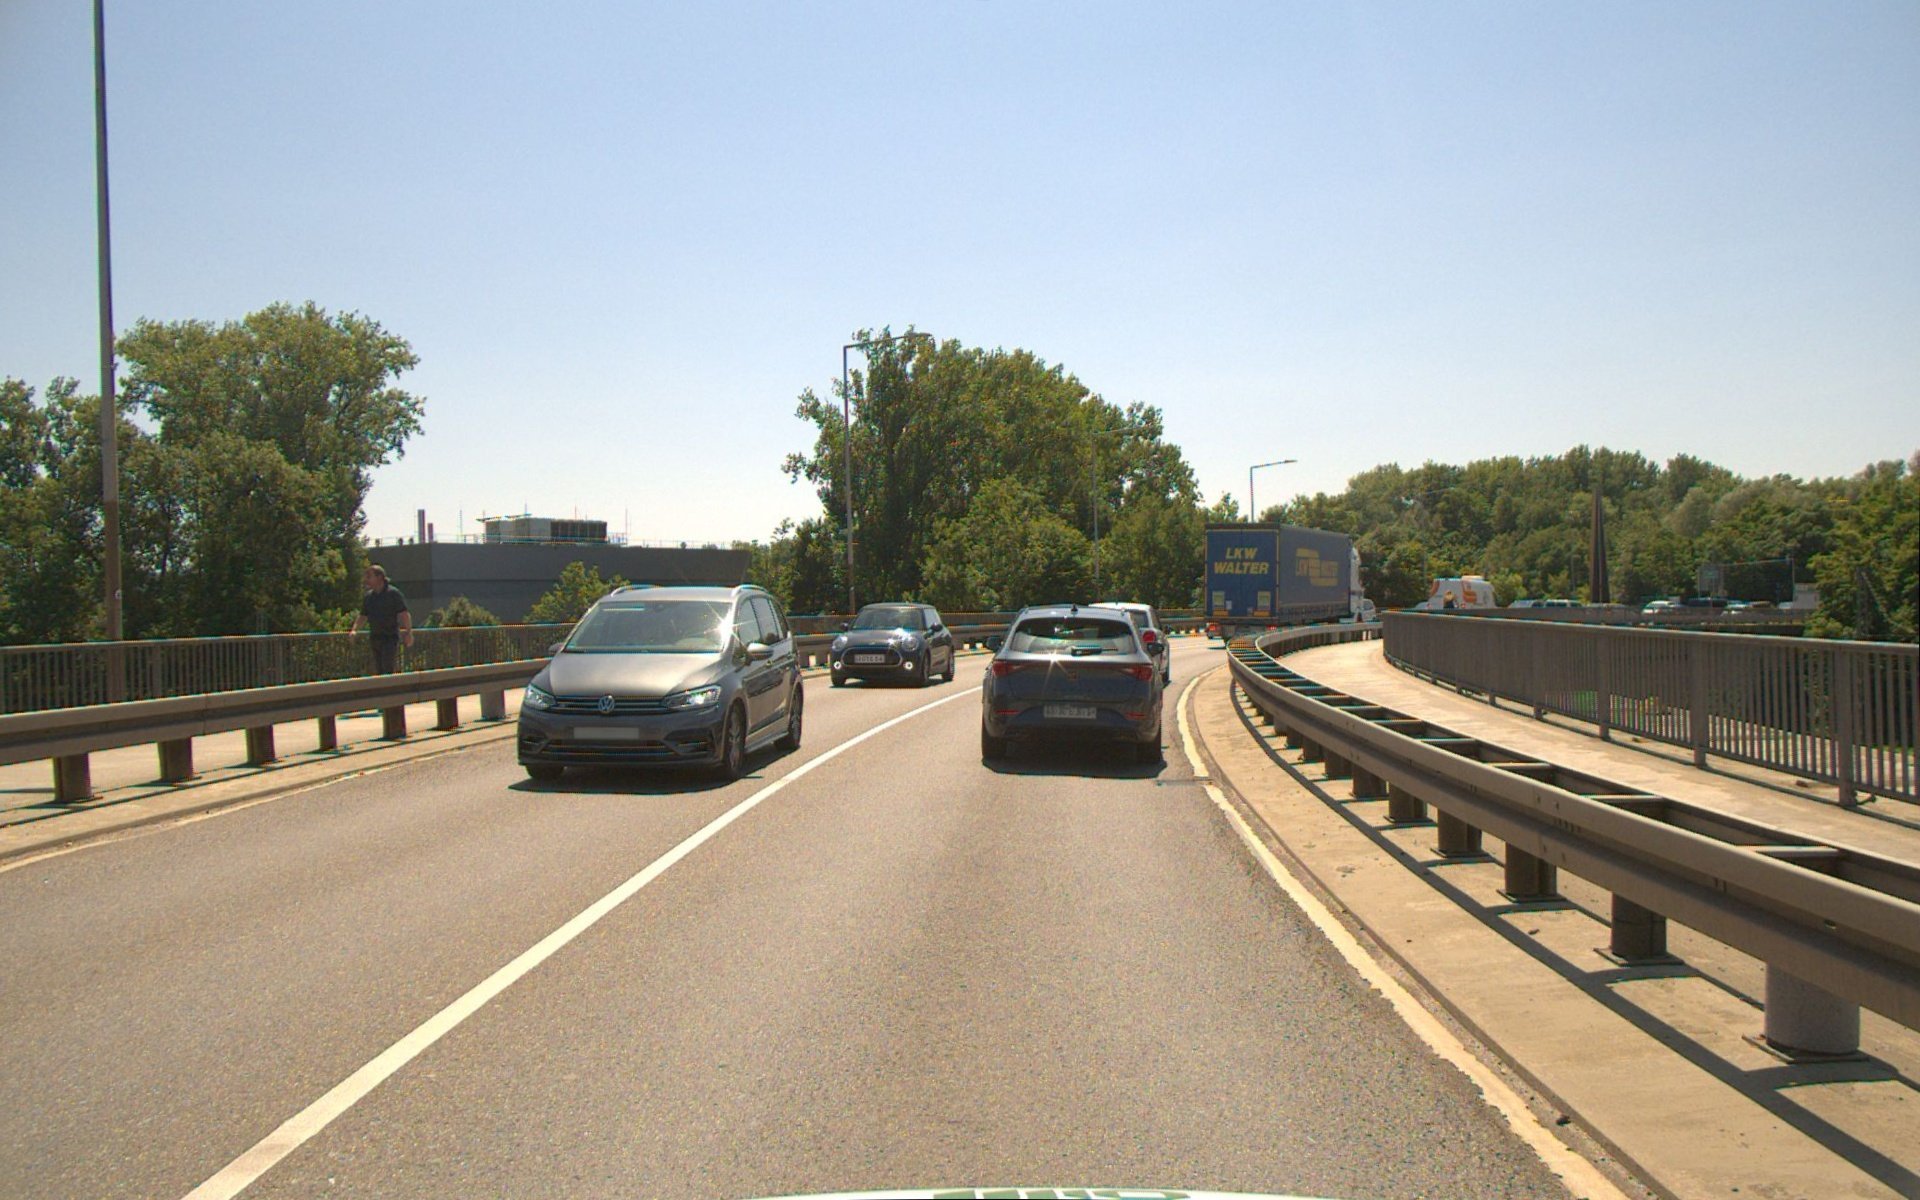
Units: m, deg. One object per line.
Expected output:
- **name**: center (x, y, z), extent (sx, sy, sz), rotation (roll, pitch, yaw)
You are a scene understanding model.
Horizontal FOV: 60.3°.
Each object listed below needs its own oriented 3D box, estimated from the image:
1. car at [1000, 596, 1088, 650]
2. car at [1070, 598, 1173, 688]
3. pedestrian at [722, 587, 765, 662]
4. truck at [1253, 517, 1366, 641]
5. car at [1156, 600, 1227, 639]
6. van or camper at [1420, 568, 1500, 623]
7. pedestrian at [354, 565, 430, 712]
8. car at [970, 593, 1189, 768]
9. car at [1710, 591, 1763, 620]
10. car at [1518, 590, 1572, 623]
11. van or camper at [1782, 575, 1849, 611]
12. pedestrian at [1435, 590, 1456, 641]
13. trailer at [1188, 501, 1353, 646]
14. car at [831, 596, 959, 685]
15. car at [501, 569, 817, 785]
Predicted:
- **car**: center (2.456, 0.654, 47.516), extent (1.751, 1.440, 4.578), rotation (-1, -1, 13)
- **car**: center (2.972, 0.737, 29.921), extent (1.559, 1.486, 3.548), rotation (1, 0, 10)
- **pedestrian**: center (-4.674, 0.532, 35.750), extent (0.699, 1.589, 0.695), rotation (-2, -1, 12)
- **truck**: center (14.054, -0.755, 66.047), extent (3.105, 4.665, 7.395), rotation (0, -1, 22)
- **car**: center (9.448, 0.762, 67.284), extent (1.691, 1.509, 3.862), rotation (-1, -1, 27)
- **van or camper**: center (25.911, -0.249, 85.572), extent (2.166, 2.758, 5.904), rotation (0, 1, 36)
- **pedestrian**: center (-7.205, 0.481, 20.997), extent (0.625, 1.814, 0.812), rotation (1, -1, 3)
- **car**: center (1.071, 0.709, 16.564), extent (1.808, 1.525, 3.757), rotation (0, 0, -2)
- **car**: center (54.921, 0.384, 116.968), extent (3.963, 1.881, 1.867), rotation (1, 2, -41)
- **car**: center (34.222, 0.412, 96.734), extent (1.858, 1.882, 3.983), rotation (0, -1, 37)
- **van or camper**: center (67.360, -0.537, 130.250), extent (4.898, 2.331, 2.465), rotation (5, 2, -33)
- **pedestrian**: center (19.407, 0.614, 66.087), extent (0.722, 2.002, 0.734), rotation (0, -1, 25)
- **trailer**: center (11.526, -0.822, 60.035), extent (3.071, 4.695, 12.943), rotation (1, 0, 23)
- **car**: center (-1.093, 0.699, 29.617), extent (1.751, 1.444, 3.776), rotation (-2, -1, 6)
- **car**: center (-2.552, 0.640, 15.115), extent (1.856, 1.683, 4.259), rotation (-1, -1, 4)
